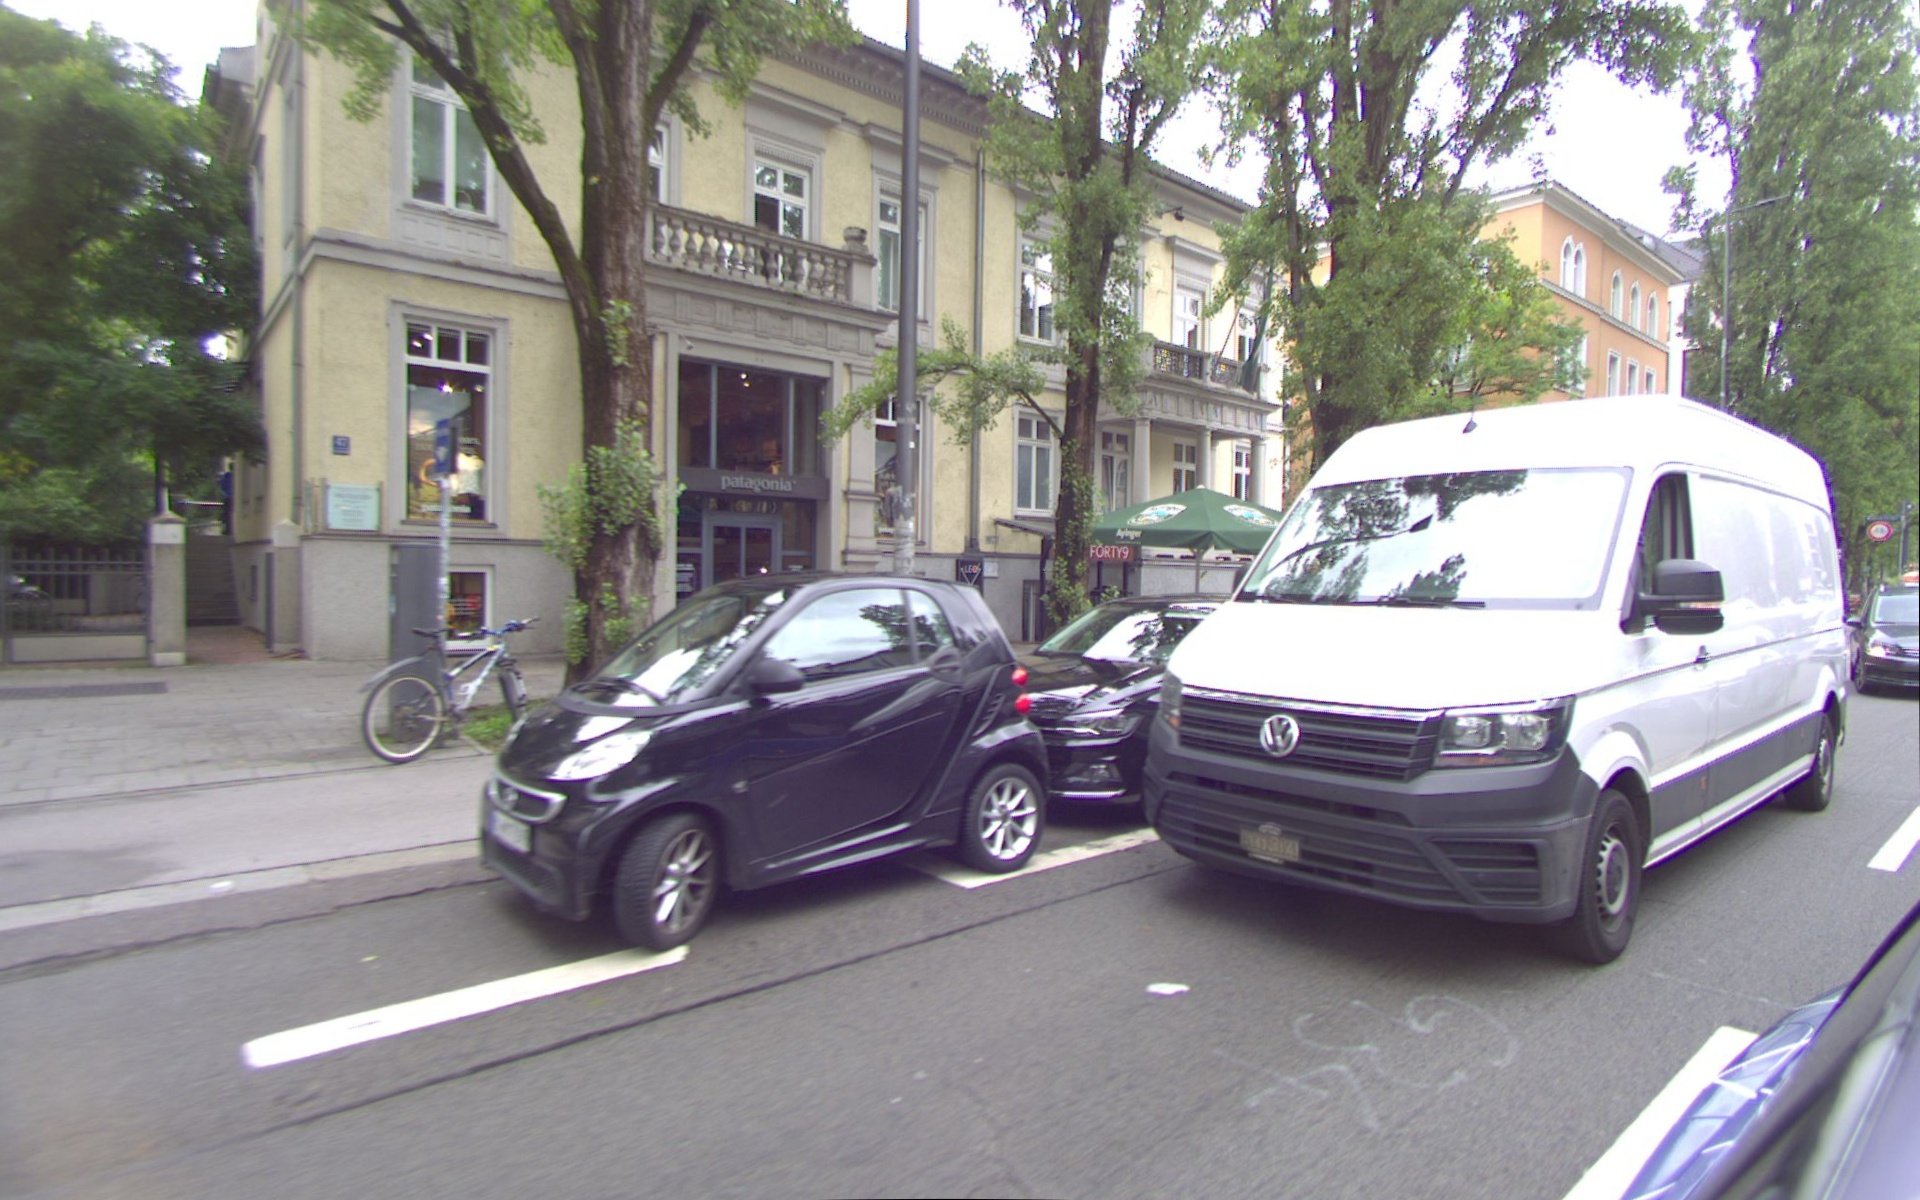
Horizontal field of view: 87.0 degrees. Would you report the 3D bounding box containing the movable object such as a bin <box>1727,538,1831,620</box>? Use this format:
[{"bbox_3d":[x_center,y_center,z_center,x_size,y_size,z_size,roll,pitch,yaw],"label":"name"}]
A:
[{"bbox_3d":[33.847,-0.896,41.774,4.463,3.175,2.445,0,3,-40],"label":"movable object such as a bin"}]

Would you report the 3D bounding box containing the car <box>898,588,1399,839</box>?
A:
[{"bbox_3d":[1.681,0.615,7.852,4.273,1.411,1.710,-1,1,-45],"label":"car"}]

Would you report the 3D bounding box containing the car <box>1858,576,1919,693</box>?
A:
[{"bbox_3d":[14.963,0.466,15.324,1.875,1.611,4.132,1,1,40],"label":"car"}]

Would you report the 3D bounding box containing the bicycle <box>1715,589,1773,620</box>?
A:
[{"bbox_3d":[28.292,0.152,36.551,1.593,1.098,0.319,2,1,28],"label":"bicycle"}]

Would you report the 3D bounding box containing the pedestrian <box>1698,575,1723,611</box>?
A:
[{"bbox_3d":[33.600,-0.312,45.328,0.603,1.590,0.746,-1,0,-38],"label":"pedestrian"}]

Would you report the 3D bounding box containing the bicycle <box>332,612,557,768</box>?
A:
[{"bbox_3d":[-3.888,0.624,7.774,0.504,1.006,1.616,1,1,21],"label":"bicycle"}]

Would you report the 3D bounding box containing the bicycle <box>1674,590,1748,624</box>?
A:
[{"bbox_3d":[25.675,0.212,34.613,0.551,1.098,1.945,0,2,-39],"label":"bicycle"}]

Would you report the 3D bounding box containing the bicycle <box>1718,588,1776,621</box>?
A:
[{"bbox_3d":[28.151,0.155,36.215,1.588,1.098,0.339,2,1,28],"label":"bicycle"}]

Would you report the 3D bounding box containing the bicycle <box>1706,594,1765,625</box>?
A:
[{"bbox_3d":[27.030,0.316,35.287,1.597,1.022,0.337,2,2,43],"label":"bicycle"}]

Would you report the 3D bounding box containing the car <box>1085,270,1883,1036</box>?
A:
[{"bbox_3d":[3.784,0.140,6.281,6.611,2.524,2.067,0,1,-41],"label":"car"}]

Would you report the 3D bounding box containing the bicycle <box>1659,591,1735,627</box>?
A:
[{"bbox_3d":[24.161,0.289,33.213,0.551,1.102,1.945,0,2,-39],"label":"bicycle"}]

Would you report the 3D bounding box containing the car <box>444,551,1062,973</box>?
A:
[{"bbox_3d":[-0.977,0.576,5.181,2.682,1.537,1.595,0,0,-41],"label":"car"}]

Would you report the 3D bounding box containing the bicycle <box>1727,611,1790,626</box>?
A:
[{"bbox_3d":[27.903,0.635,35.369,1.671,0.378,0.818,4,3,42],"label":"bicycle"}]

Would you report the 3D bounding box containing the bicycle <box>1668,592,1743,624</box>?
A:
[{"bbox_3d":[25.119,0.248,34.130,0.551,1.022,1.945,0,2,-39],"label":"bicycle"}]

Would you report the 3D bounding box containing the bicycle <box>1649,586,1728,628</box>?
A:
[{"bbox_3d":[23.250,0.205,32.323,0.551,1.255,1.945,0,2,-39],"label":"bicycle"}]
